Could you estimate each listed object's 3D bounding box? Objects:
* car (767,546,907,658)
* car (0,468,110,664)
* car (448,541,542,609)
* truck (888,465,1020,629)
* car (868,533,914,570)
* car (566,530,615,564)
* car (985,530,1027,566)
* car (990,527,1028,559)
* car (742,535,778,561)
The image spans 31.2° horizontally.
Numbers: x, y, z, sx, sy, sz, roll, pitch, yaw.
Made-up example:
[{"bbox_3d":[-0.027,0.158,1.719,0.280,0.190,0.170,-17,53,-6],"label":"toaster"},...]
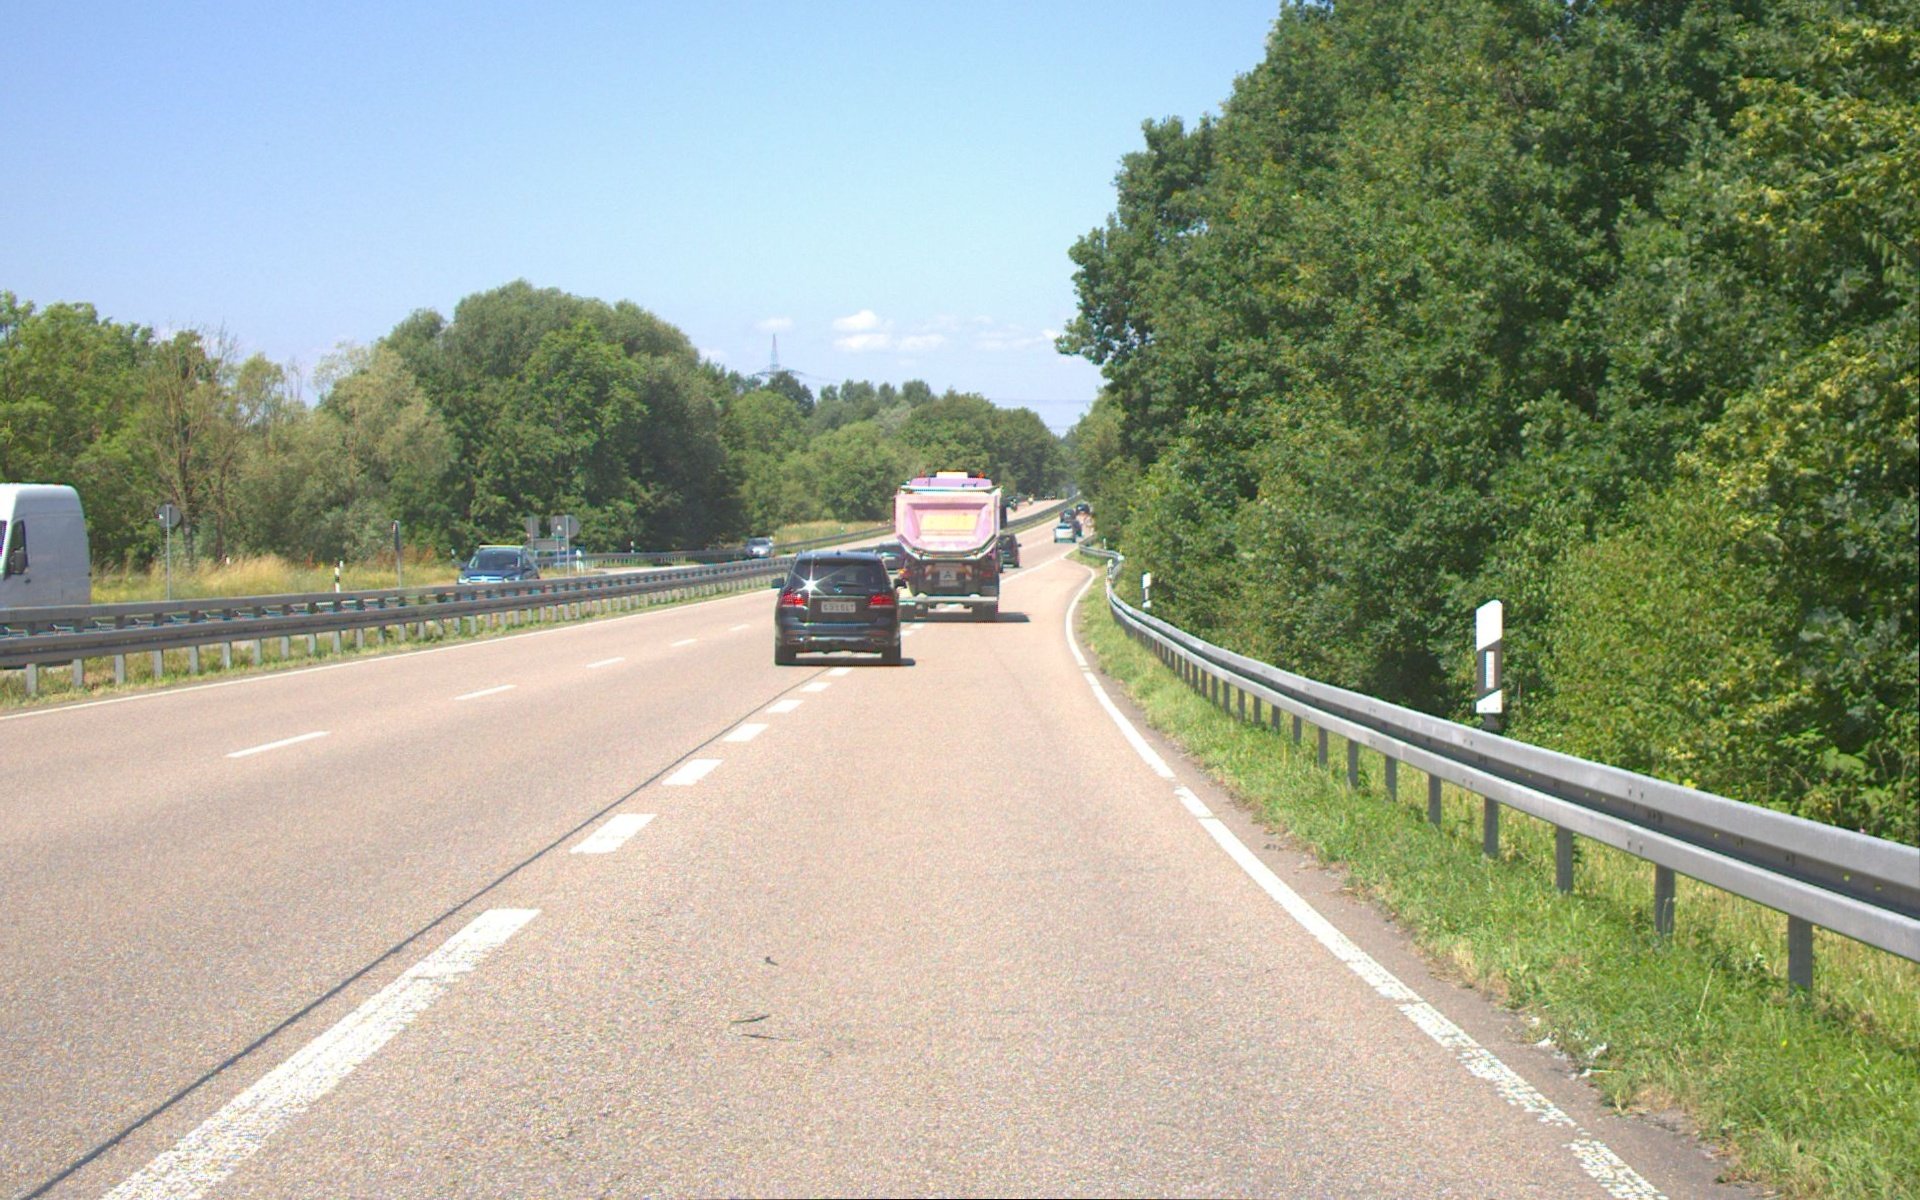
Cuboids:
[{"bbox_3d":[-1.863,0.008,53.175,1.857,1.665,4.000,0,1,2],"label":"car"},{"bbox_3d":[-14.181,-0.507,49.856,2.102,2.674,6.628,1,1,-1],"label":"car"},{"bbox_3d":[-12.860,-0.700,95.297,1.863,1.824,4.660,0,1,1],"label":"car"},{"bbox_3d":[-0.044,-1.511,88.513,2.720,3.916,12.370,0,2,3],"label":"truck"},{"bbox_3d":[-3.172,-2.236,158.956,1.858,1.665,4.000,0,1,3],"label":"car"},{"bbox_3d":[-16.800,-2.400,156.470,1.918,1.484,4.000,1,1,-2],"label":"car"},{"bbox_3d":[2.236,-2.494,165.013,1.858,1.665,4.000,0,1,3],"label":"car"},{"bbox_3d":[2.581,-2.972,180.575,1.858,1.665,4.000,0,1,3],"label":"car"},{"bbox_3d":[-12.764,-3.330,219.695,1.724,1.639,4.943,1,1,3],"label":"car"}]
